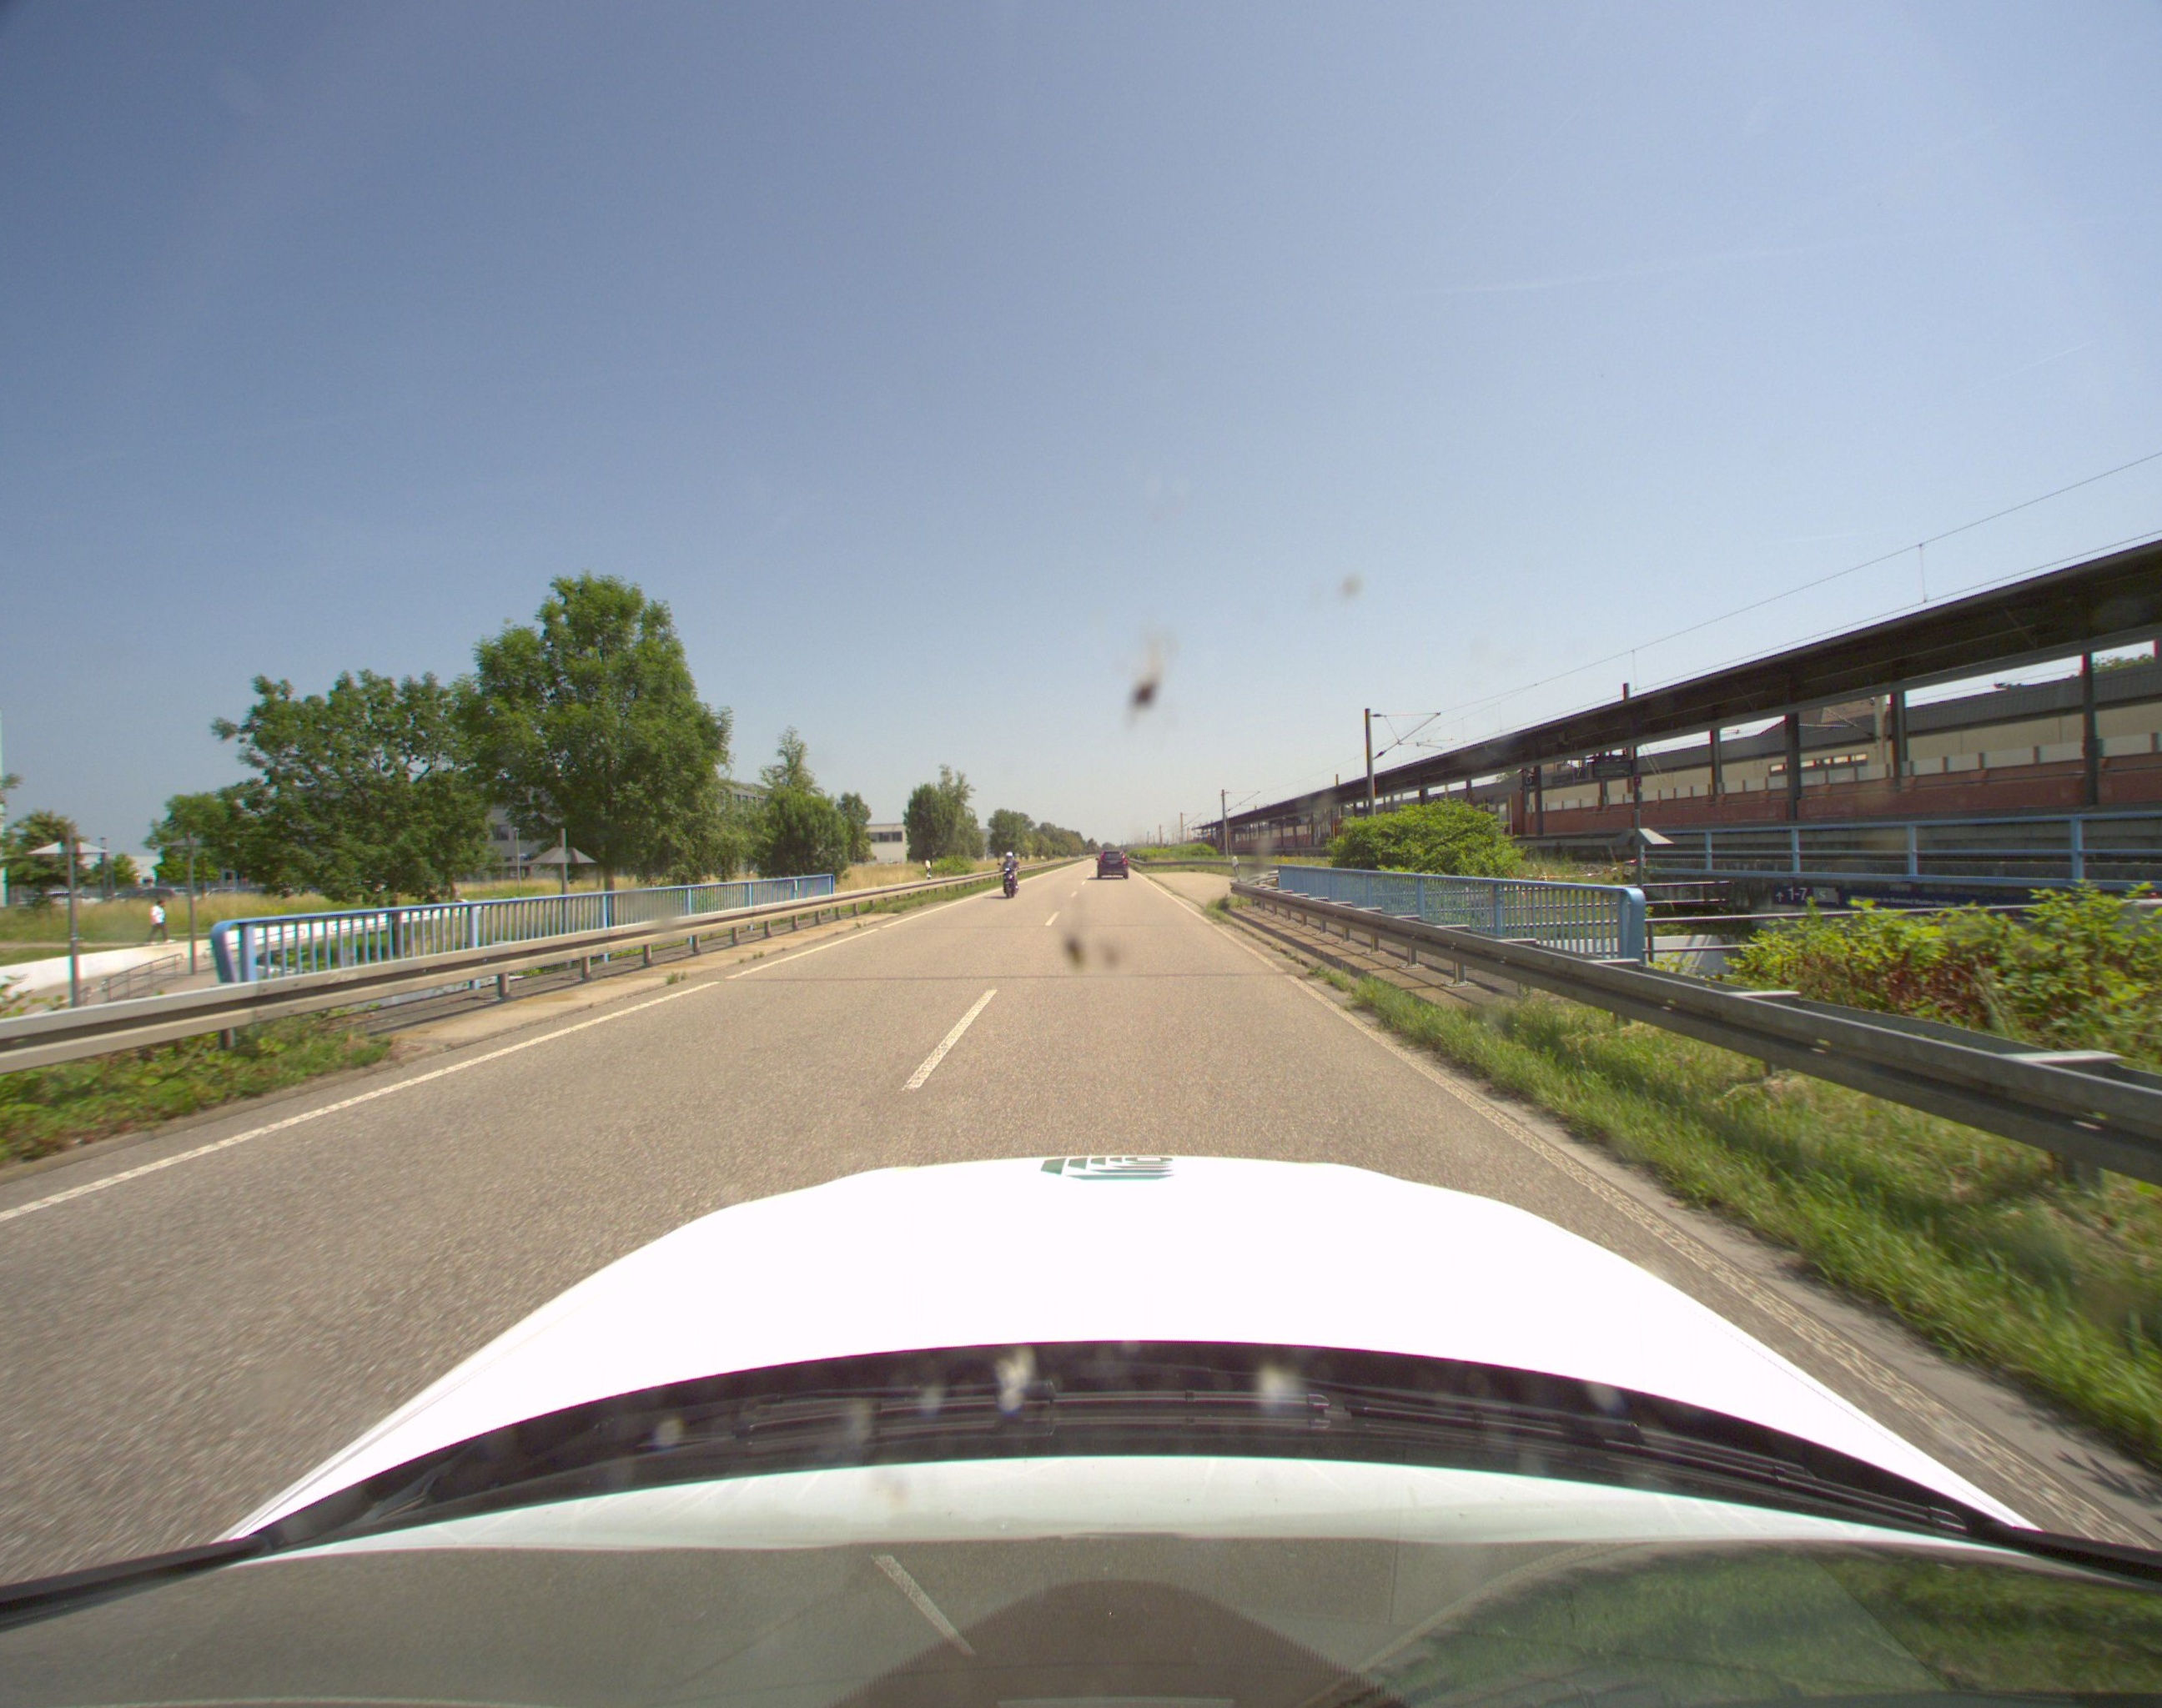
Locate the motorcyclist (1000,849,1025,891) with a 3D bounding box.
[{"bbox_3d":[-2.463,0.569,29.371,0.723,1.465,0.988,-1,0,4],"label":"motorcyclist"}]

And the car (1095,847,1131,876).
[{"bbox_3d":[1.903,0.428,49.717,1.987,1.700,3.999,-1,0,-1],"label":"car"}]

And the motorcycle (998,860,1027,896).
[{"bbox_3d":[-2.453,0.834,29.407,0.686,1.234,2.372,-1,0,4],"label":"motorcycle"}]
